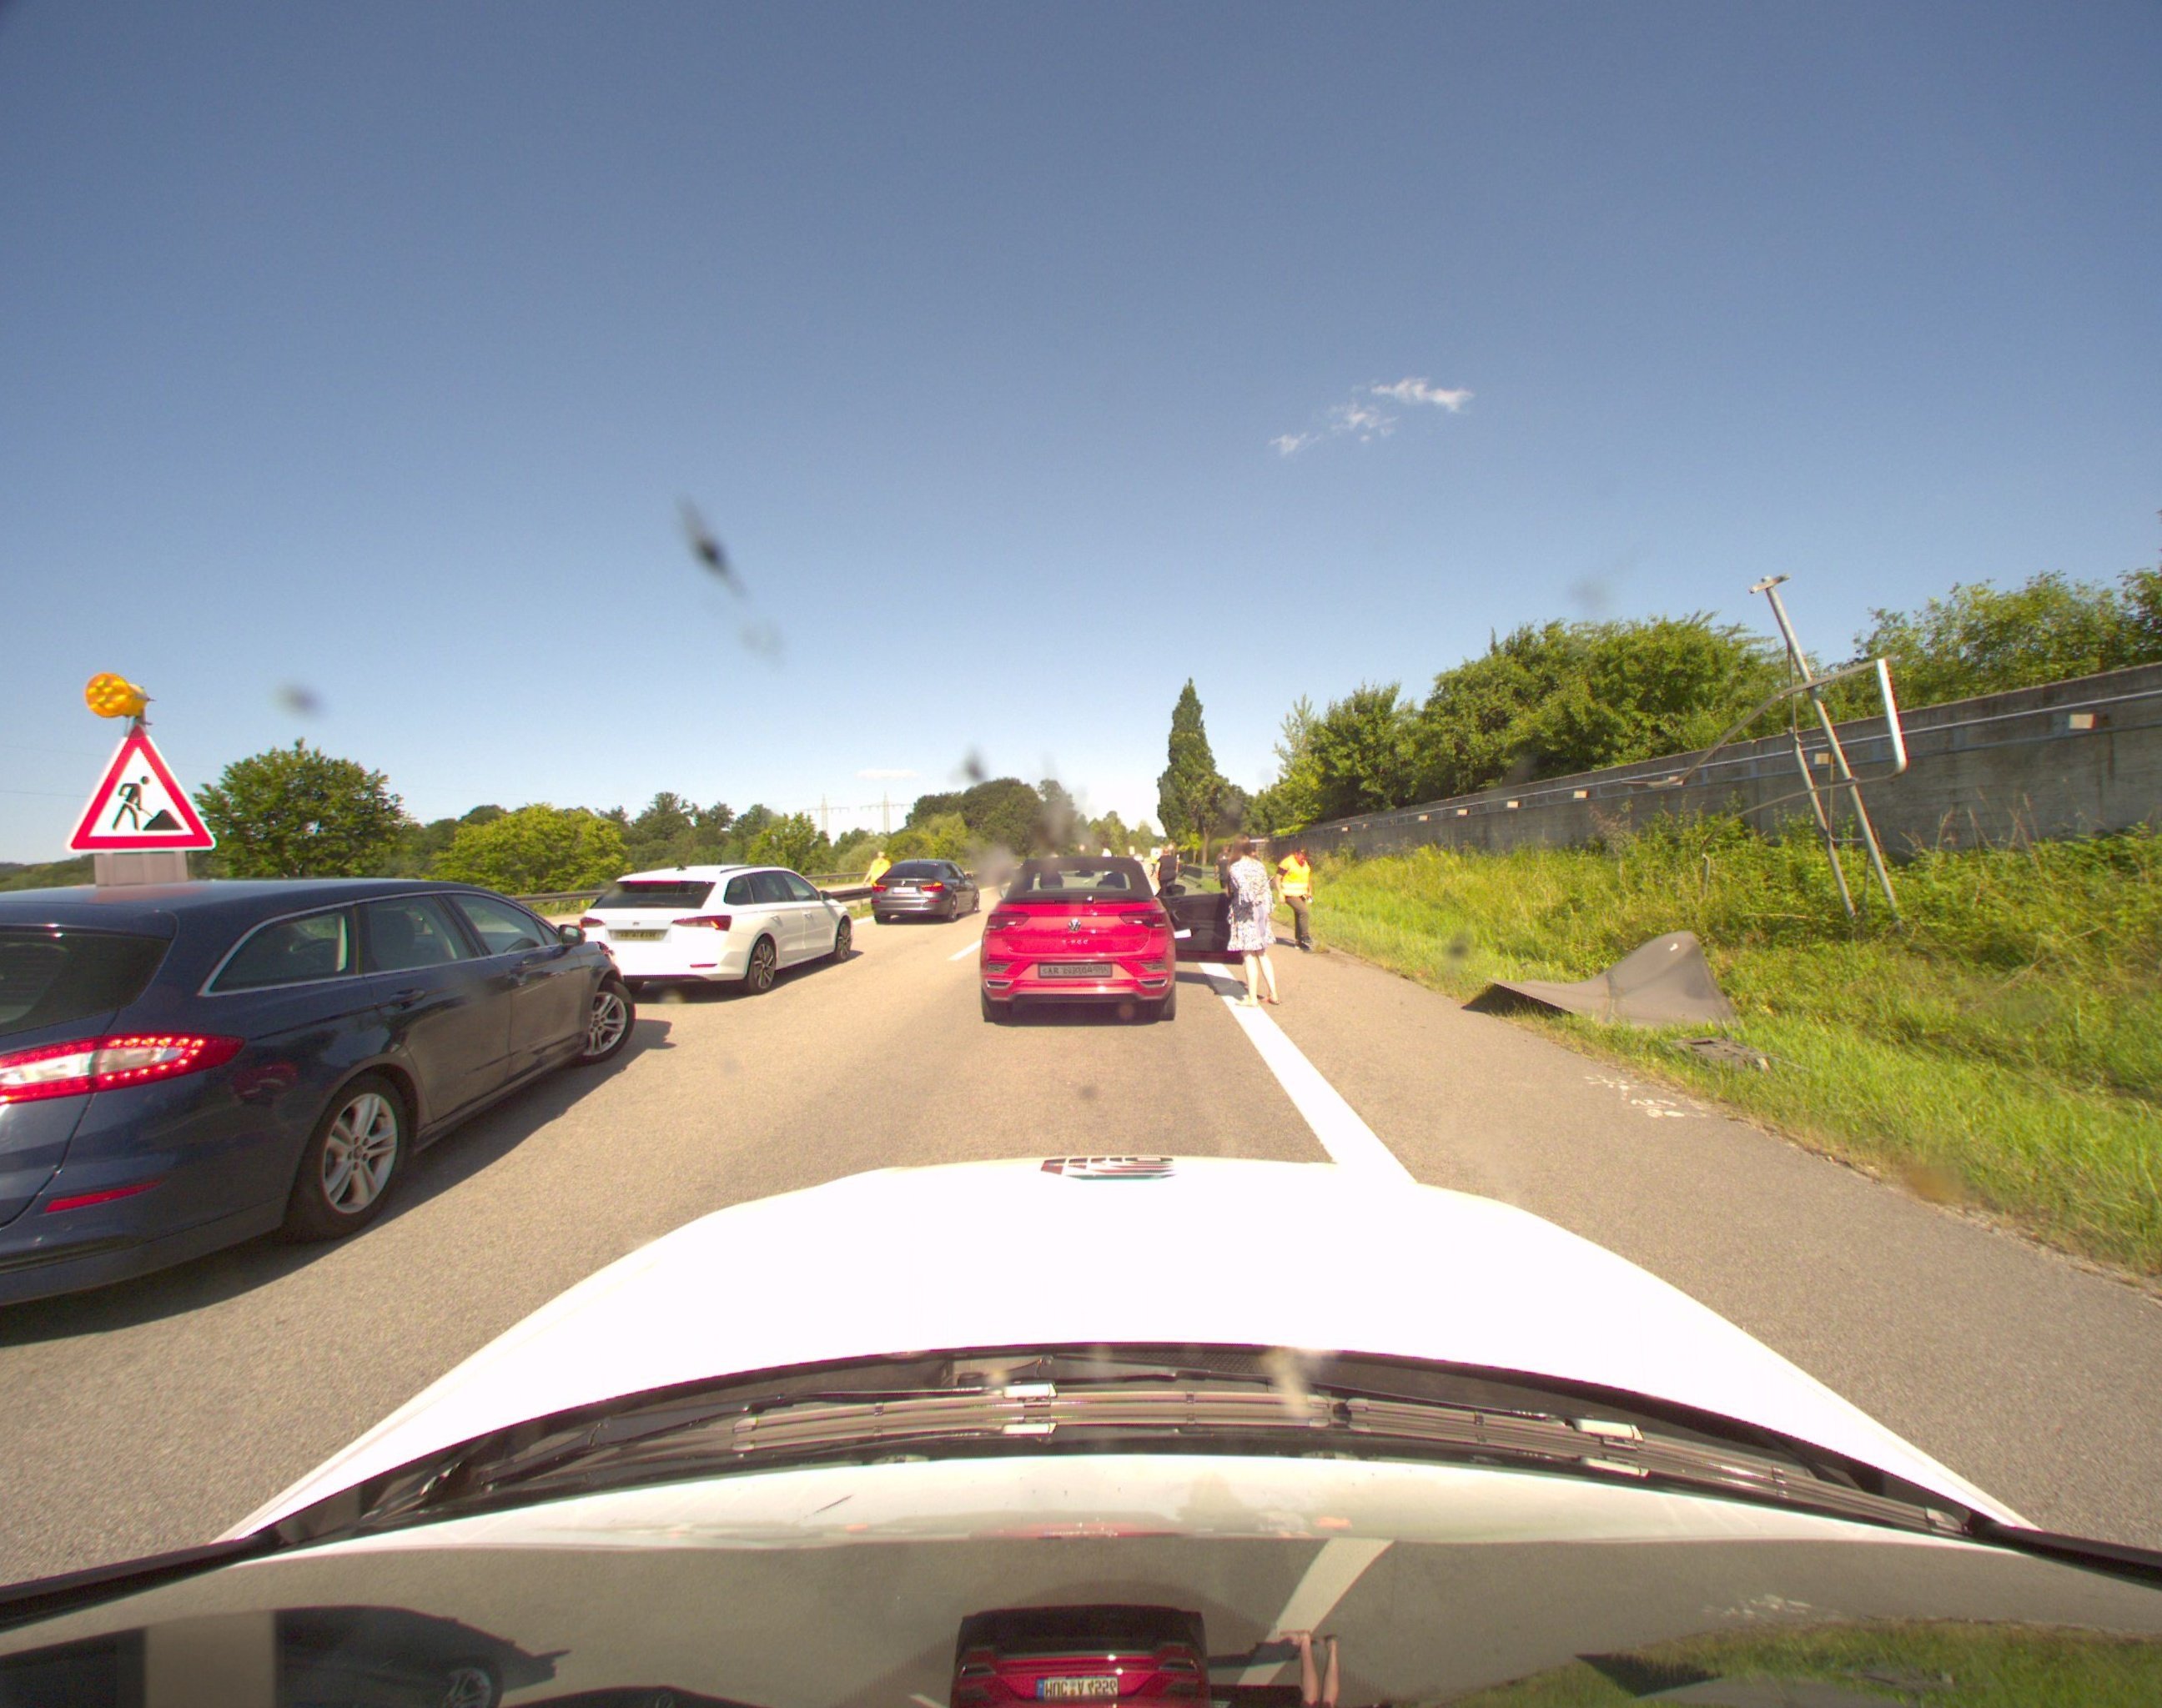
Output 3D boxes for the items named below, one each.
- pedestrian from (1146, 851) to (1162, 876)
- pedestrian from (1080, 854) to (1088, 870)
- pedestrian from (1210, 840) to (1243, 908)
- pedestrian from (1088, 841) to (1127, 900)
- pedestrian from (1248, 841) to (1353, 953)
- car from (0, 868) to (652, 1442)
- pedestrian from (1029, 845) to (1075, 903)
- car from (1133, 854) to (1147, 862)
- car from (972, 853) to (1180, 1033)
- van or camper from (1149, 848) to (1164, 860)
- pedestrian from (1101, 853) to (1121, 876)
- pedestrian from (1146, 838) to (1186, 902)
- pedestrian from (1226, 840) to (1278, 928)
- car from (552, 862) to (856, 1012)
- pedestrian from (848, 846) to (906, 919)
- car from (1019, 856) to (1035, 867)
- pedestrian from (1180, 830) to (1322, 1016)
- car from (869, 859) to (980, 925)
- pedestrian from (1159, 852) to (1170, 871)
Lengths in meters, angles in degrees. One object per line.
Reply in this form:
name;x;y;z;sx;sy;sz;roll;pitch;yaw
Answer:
pedestrian;4.960;0.640;55.335;1.049;1.689;1.020;0;-1;9
pedestrian;0.310;0.833;87.722;0.787;1.689;0.794;0;-1;7
pedestrian;3.810;0.518;21.325;0.806;1.759;0.830;0;-1;10
pedestrian;0.876;0.536;27.416;1.104;1.912;1.255;-2;0;-5
pedestrian;3.455;0.646;12.915;0.963;1.653;1.267;-2;0;-27
car;-3.996;0.875;4.272;1.788;1.493;4.476;-2;0;-11
pedestrian;-0.929;0.635;25.988;1.094;1.789;1.097;-1;-1;22
car;11.853;0.845;162.093;1.718;1.487;4.231;-1;0;19
car;0.060;0.745;8.907;1.725;1.487;4.213;-1;0;3
van or camper;14.858;0.060;160.932;1.977;2.316;4.491;-1;-1;18
pedestrian;2.199;0.754;59.816;1.119;1.689;0.965;0;-1;-25
pedestrian;2.592;0.489;24.858;1.086;1.883;1.069;-2;0;1
pedestrian;3.448;0.594;16.394;0.887;1.725;0.758;-1;-1;20
car;-4.348;0.849;10.239;1.688;1.441;4.213;-1;0;3
pedestrian;-5.113;0.695;20.462;1.035;1.763;1.120;-2;0;5
car;-7.585;1.073;114.014;1.705;1.425;4.410;-1;0;3
pedestrian;1.677;0.643;8.199;0.893;1.695;1.121;-2;0;-20
car;-3.699;0.845;20.055;1.688;1.426;4.337;-1;0;3
pedestrian;7.524;0.674;73.515;0.991;1.689;1.012;0;-1;6
